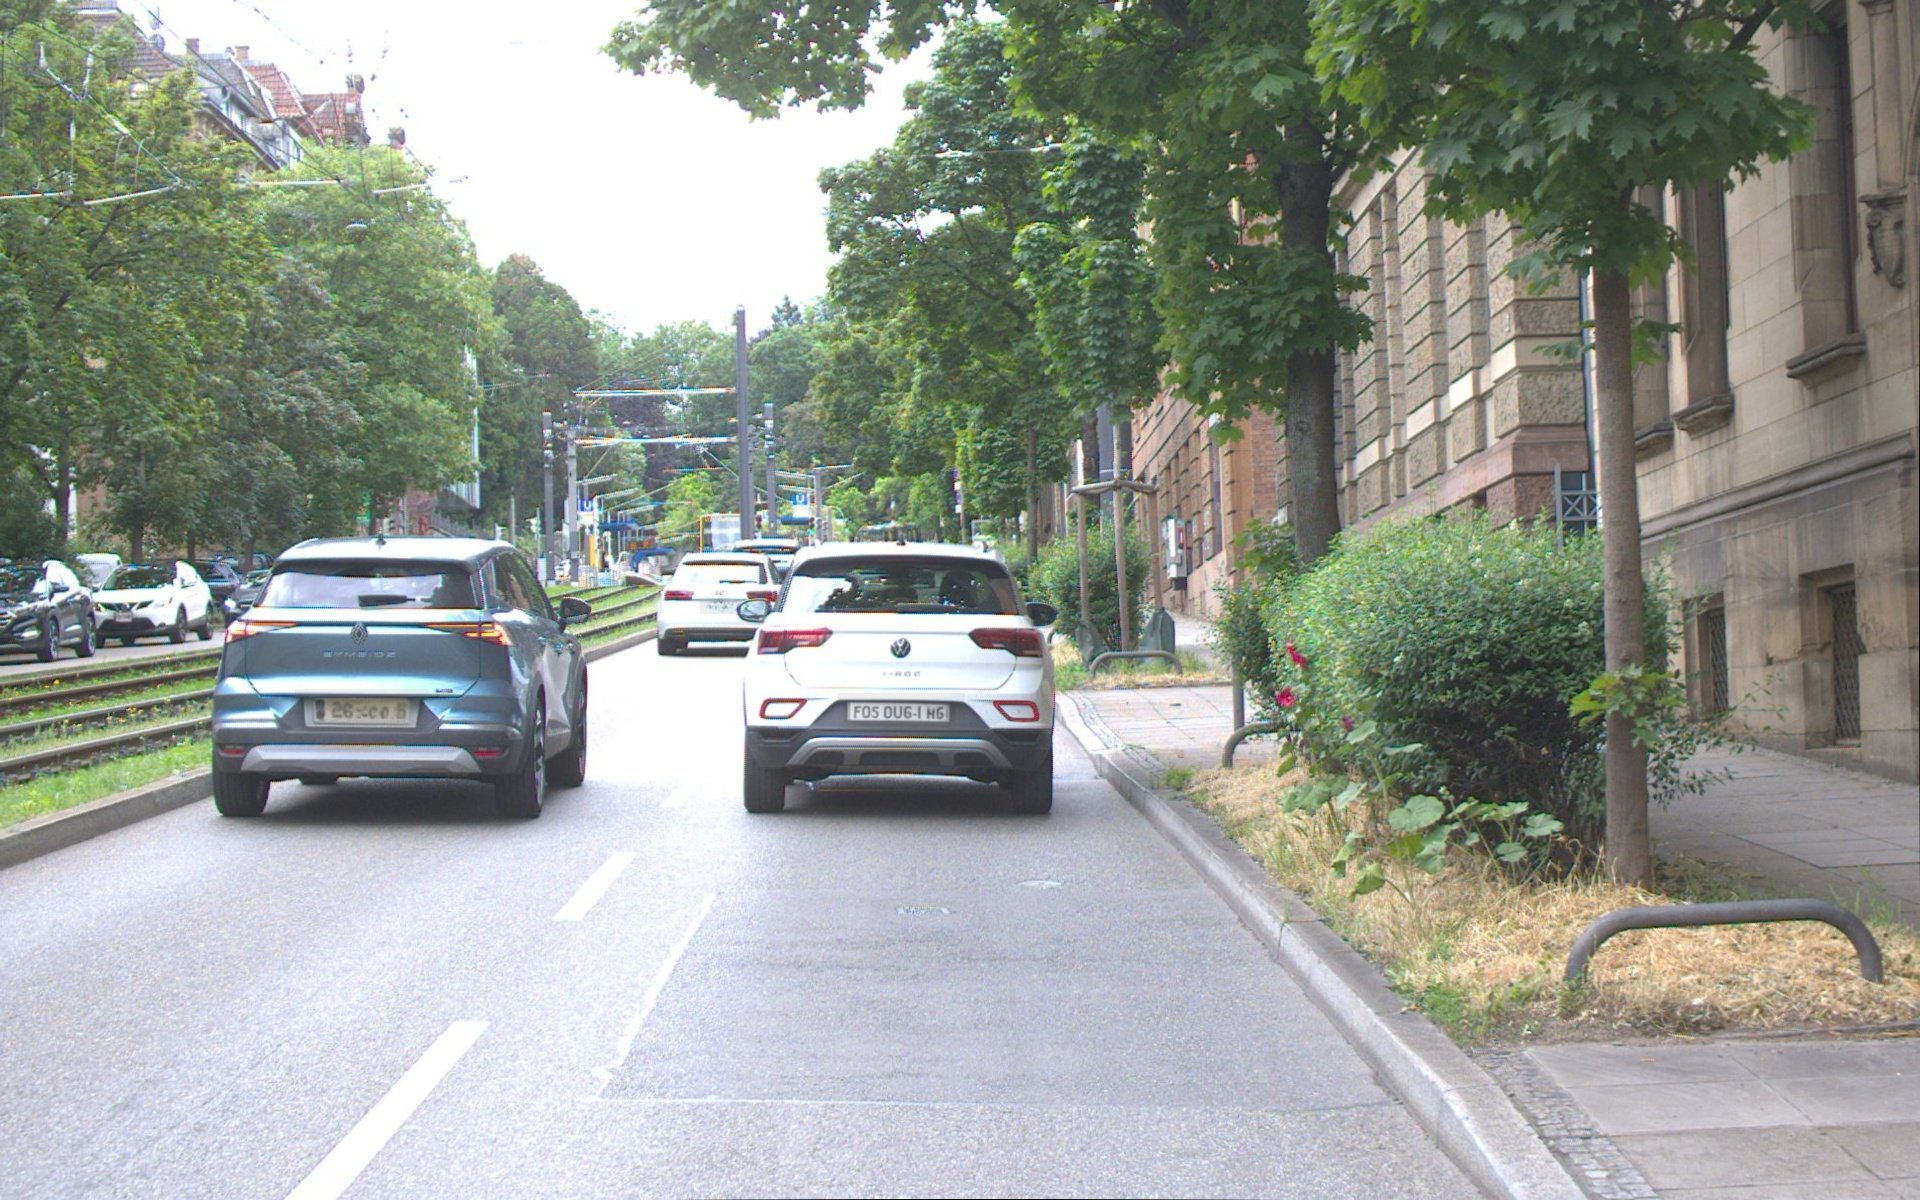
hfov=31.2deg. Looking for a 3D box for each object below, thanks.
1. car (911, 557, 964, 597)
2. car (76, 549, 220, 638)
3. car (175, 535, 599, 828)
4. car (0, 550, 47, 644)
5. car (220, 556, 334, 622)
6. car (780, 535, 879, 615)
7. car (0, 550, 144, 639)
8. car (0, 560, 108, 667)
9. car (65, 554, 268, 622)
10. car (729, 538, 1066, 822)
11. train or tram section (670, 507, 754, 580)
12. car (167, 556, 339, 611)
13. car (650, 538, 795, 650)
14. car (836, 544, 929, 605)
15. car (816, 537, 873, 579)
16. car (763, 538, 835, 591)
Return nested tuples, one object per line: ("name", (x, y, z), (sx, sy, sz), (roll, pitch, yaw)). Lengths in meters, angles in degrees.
("car", (-0.898, -0.928, 137.427), (2.068, 1.541, 4.193), (0, 1, 0))
("car", (-15.897, -0.145, 67.473), (1.780, 1.611, 4.346), (-3, 1, -1))
("car", (-3.254, 0.410, 20.300), (1.835, 1.541, 4.193), (0, 1, 0))
("car", (-19.749, -0.015, 65.465), (4.178, 1.761, 1.872), (-2, 1, -30))
("car", (-15.904, -0.275, 80.217), (1.724, 1.405, 4.598), (-3, 1, -1))
("car", (-2.579, -0.503, 68.755), (1.835, 1.541, 4.193), (0, 1, 0))
("car", (-19.899, -0.115, 73.963), (4.177, 1.830, 1.872), (-2, 1, -27))
("car", (-15.357, 0.208, 56.160), (1.780, 1.651, 4.243), (-3, 1, -1))
("car", (-20.028, -0.306, 86.838), (4.592, 1.676, 1.936), (0, 1, -34))
("car", (-0.405, 0.417, 20.881), (1.835, 1.541, 4.194), (0, 1, -2))
("train or tram section", (-11.896, -2.706, 166.333), (2.996, 3.337, 13.439), (-1, 1, 0))
("car", (-20.938, -0.484, 101.814), (4.593, 1.612, 1.936), (0, 1, -34))
("car", (-3.404, -0.104, 49.821), (1.835, 1.541, 4.193), (0, 1, 0))
("car", (-2.006, -0.669, 89.802), (2.068, 1.541, 4.193), (0, 1, 4))
("car", (-4.349, -1.568, 129.359), (2.068, 1.541, 4.194), (0, 1, -2))
("car", (-4.860, -1.071, 103.261), (2.068, 1.541, 4.194), (0, 1, -4))
